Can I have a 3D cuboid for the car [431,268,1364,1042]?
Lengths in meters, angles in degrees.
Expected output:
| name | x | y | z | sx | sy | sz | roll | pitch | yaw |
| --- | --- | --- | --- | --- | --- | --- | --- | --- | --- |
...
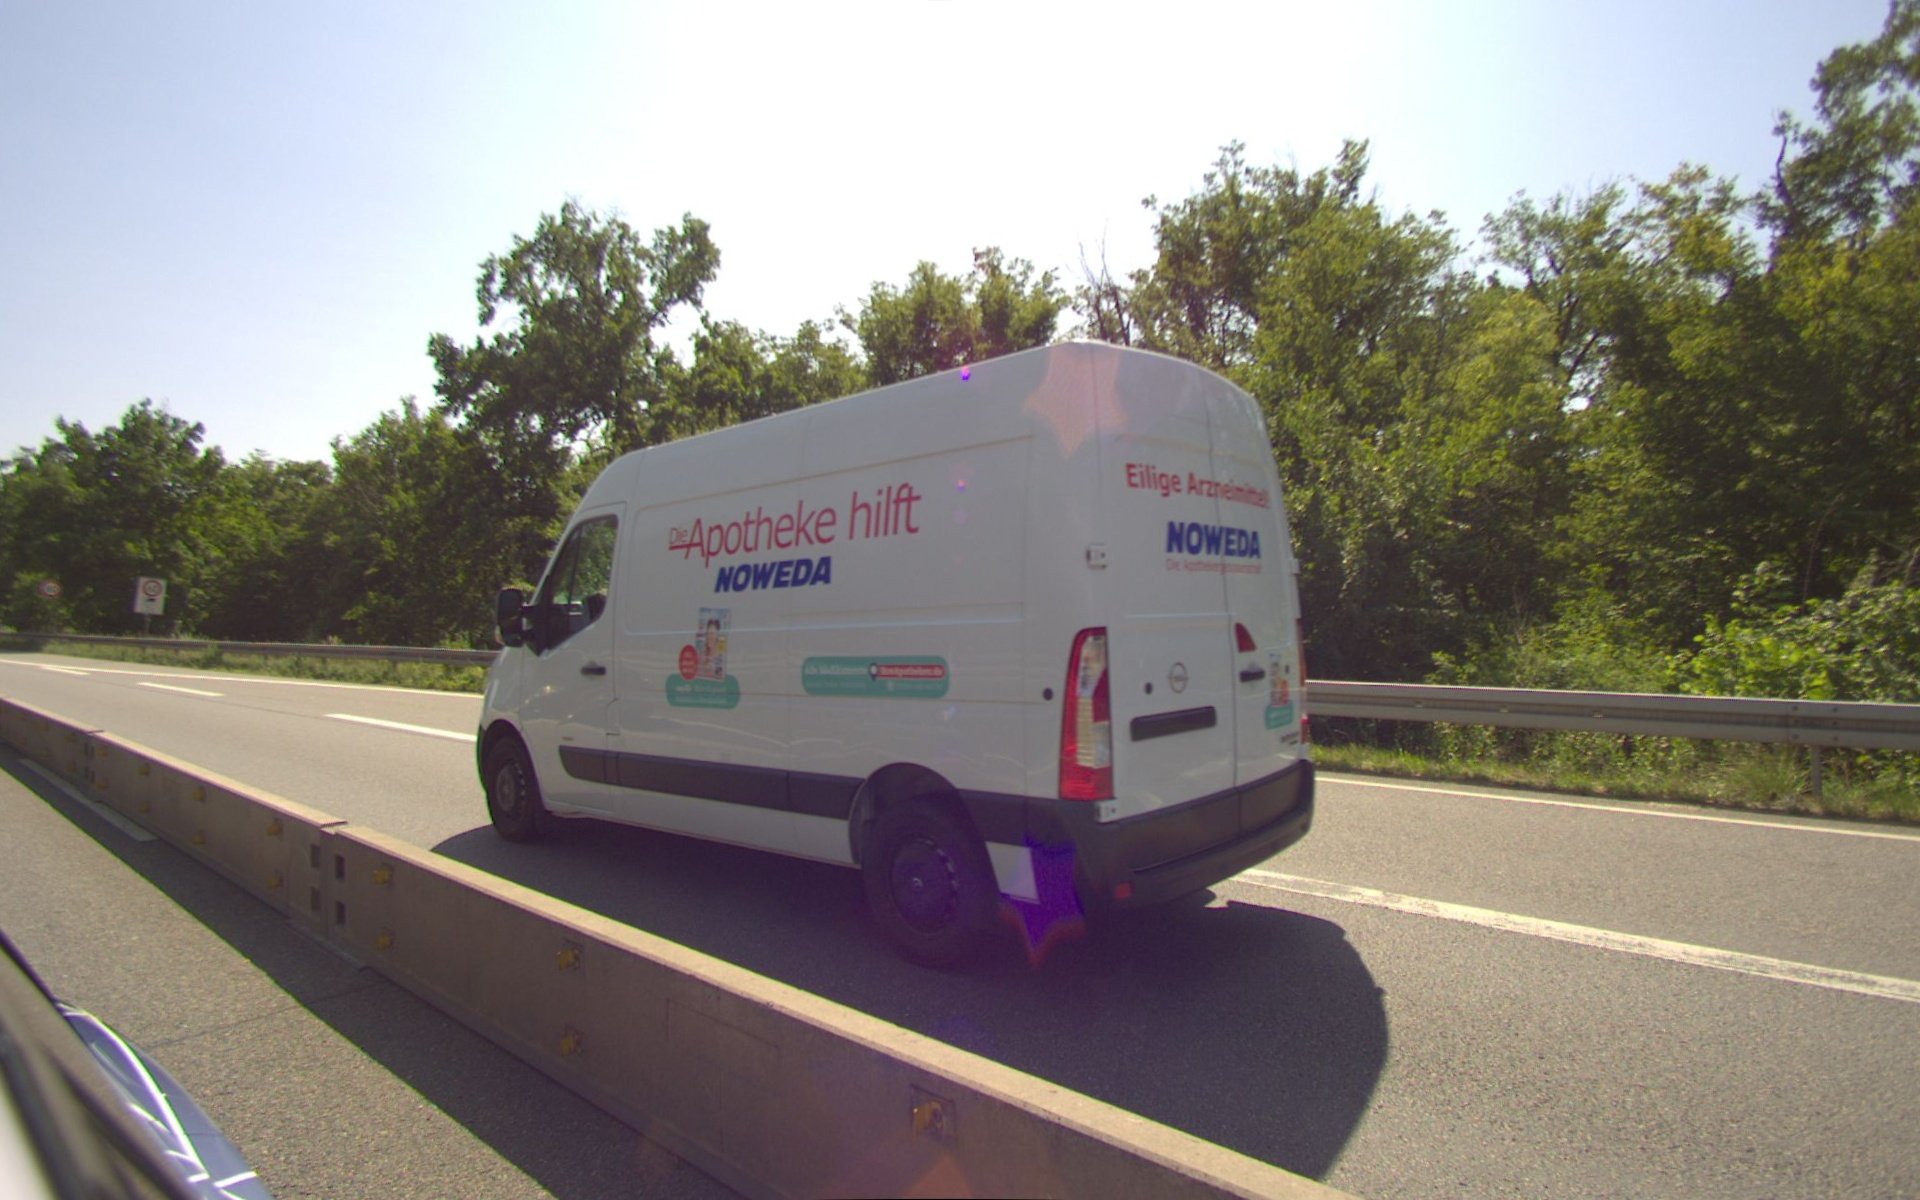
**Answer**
| name | x | y | z | sx | sy | sz | roll | pitch | yaw |
| --- | --- | --- | --- | --- | --- | --- | --- | --- | --- |
| car | -0.852 | 0.223 | 5.875 | 5.557 | 2.504 | 2.040 | -1 | -1 | 41 |
